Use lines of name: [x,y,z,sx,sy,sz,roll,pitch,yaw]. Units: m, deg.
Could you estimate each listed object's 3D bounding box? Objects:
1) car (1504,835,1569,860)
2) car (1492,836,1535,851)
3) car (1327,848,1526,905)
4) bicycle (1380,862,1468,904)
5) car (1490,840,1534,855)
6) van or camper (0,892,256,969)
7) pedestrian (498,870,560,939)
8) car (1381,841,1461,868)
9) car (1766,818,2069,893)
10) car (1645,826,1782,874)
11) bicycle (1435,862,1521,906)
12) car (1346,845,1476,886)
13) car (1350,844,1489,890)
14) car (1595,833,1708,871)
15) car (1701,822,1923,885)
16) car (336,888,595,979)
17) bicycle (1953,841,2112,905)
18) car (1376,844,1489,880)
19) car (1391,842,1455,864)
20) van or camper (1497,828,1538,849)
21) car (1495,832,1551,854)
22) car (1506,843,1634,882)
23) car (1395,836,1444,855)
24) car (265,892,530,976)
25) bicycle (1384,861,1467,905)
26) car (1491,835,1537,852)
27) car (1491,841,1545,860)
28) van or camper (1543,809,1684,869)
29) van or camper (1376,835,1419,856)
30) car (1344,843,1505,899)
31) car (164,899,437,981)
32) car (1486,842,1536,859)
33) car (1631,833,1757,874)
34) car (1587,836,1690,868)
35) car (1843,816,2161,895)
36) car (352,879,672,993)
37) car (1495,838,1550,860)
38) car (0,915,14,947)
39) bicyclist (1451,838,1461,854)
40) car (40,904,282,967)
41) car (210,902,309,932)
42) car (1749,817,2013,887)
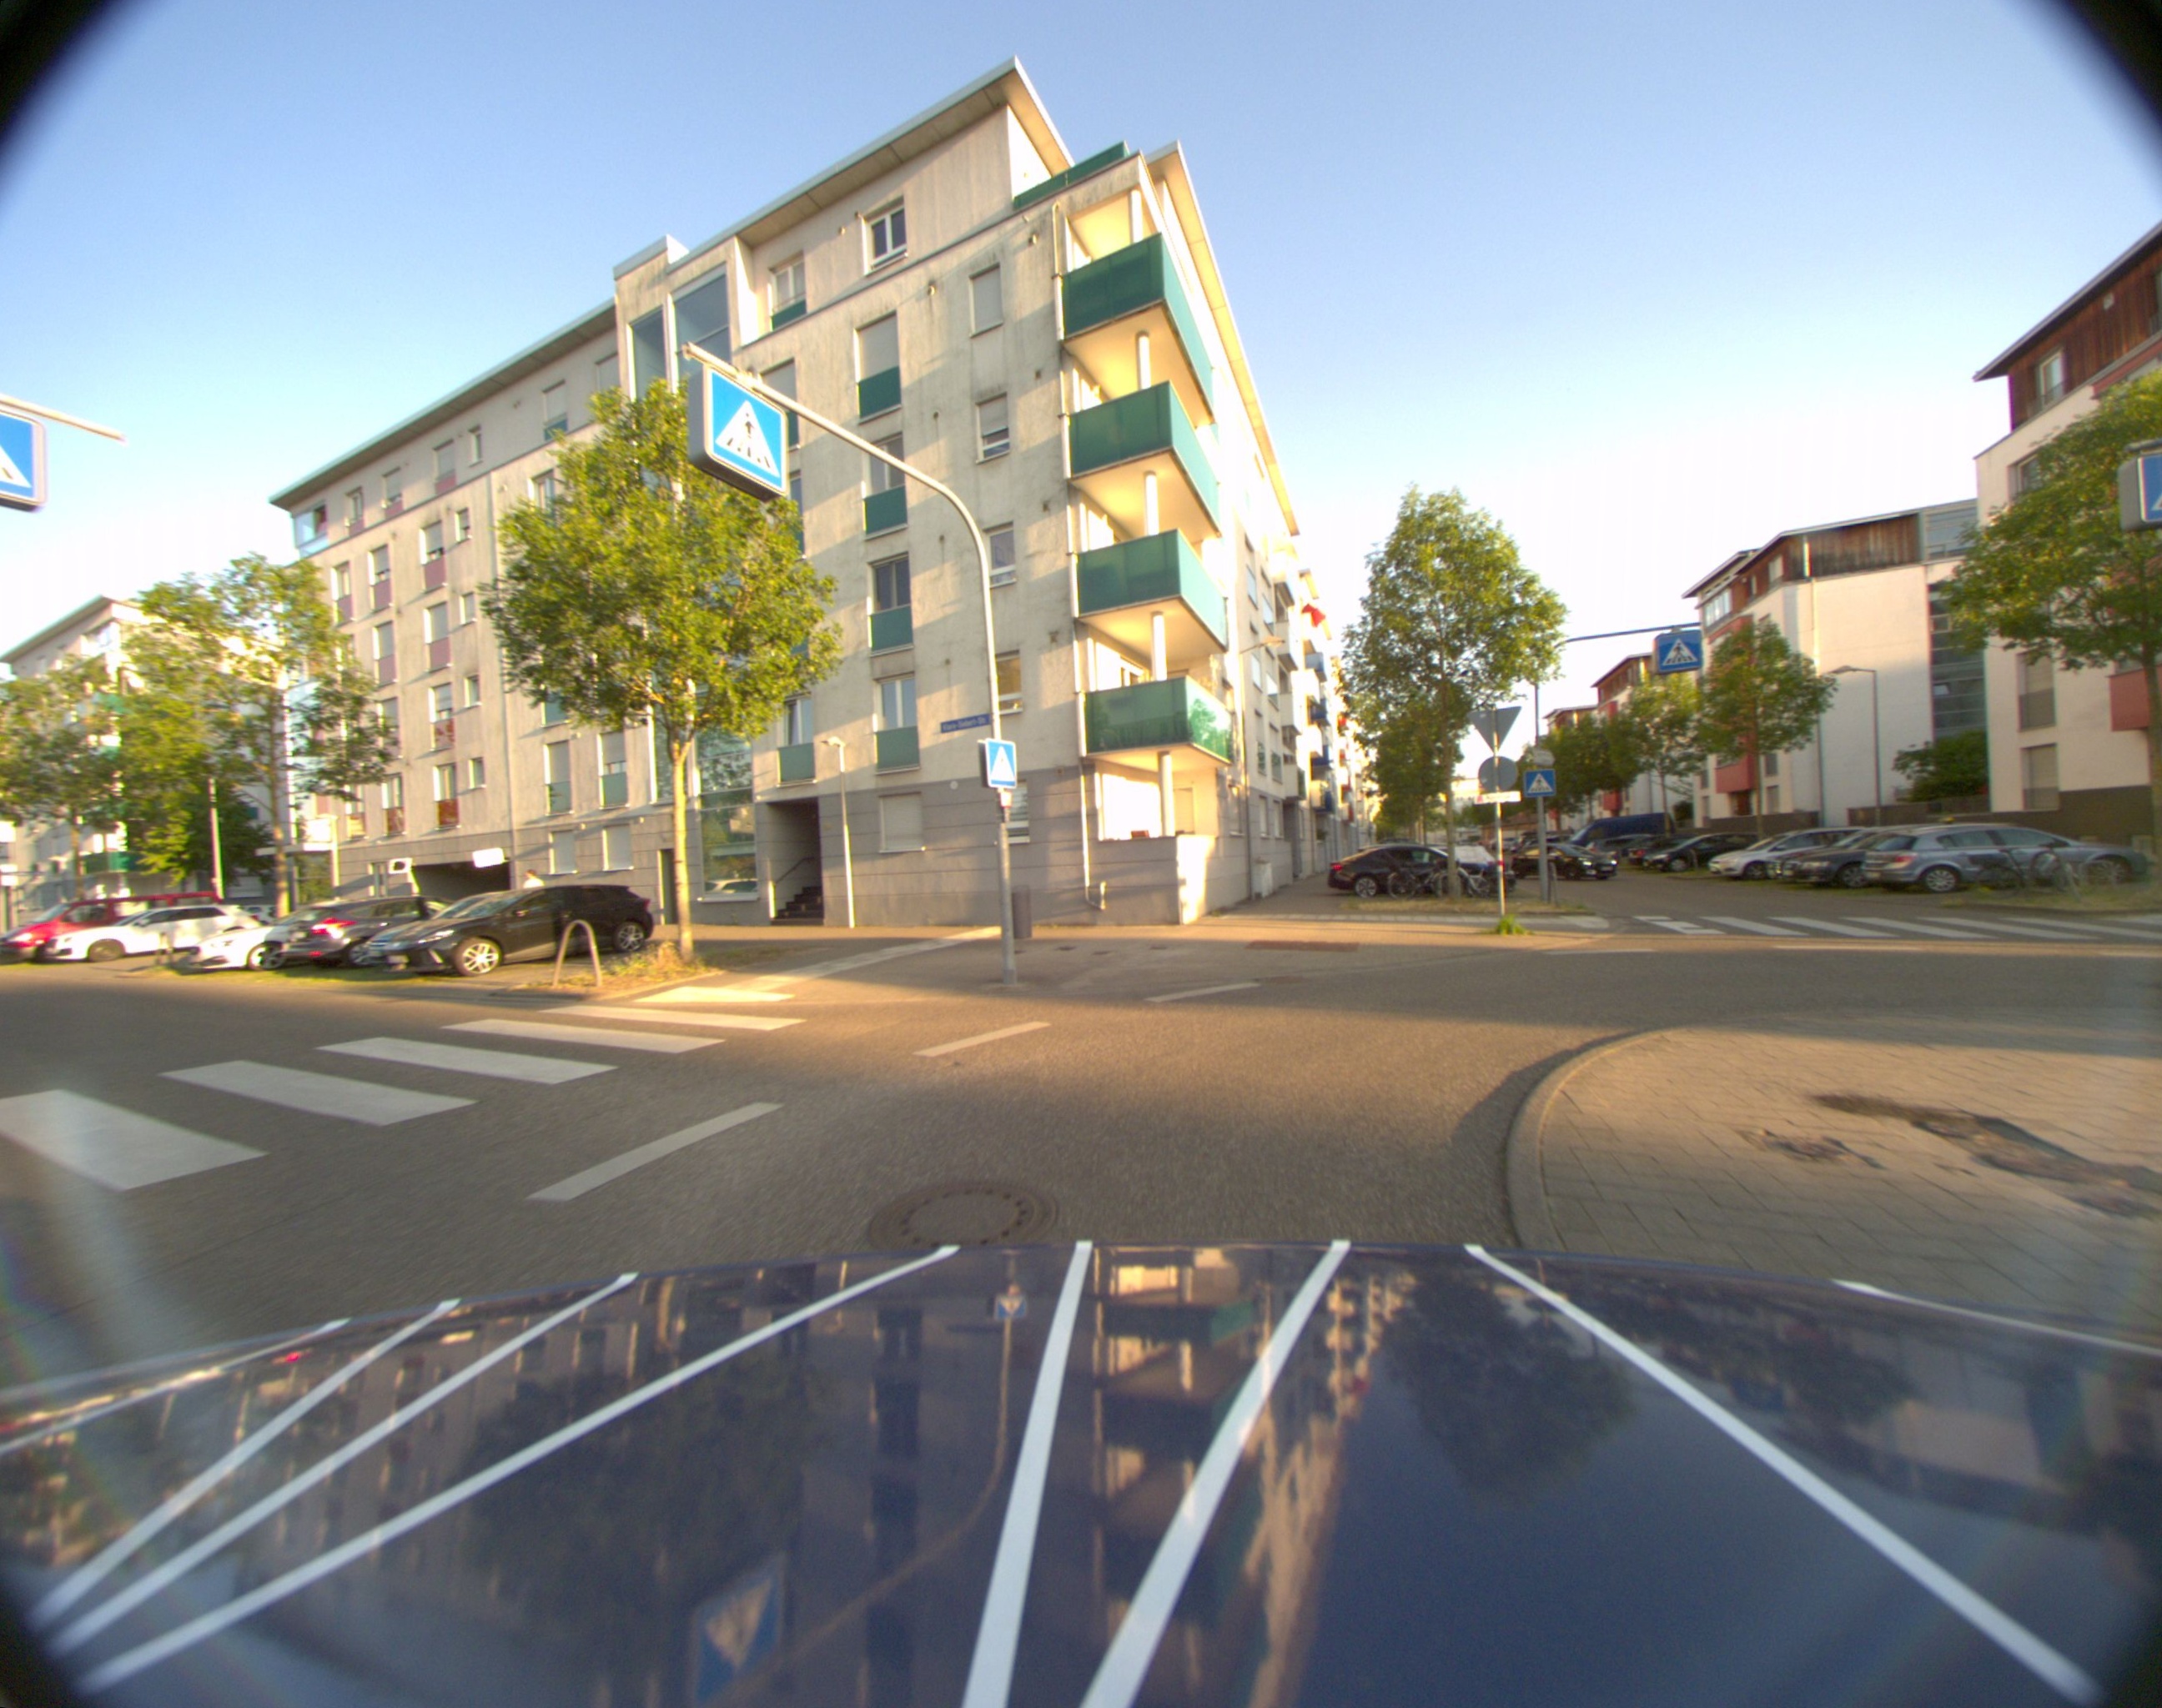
car: [36.054,-0.486,60.247,4.244,1.919,1.695,0,0,22]
car: [50.528,-1.199,88.816,4.243,1.776,1.695,0,0,24]
car: [9.600,0.572,21.375,4.878,1.449,1.941,0,0,25]
bicycle: [8.799,0.726,19.555,2.031,1.040,0.474,0,0,19]
car: [48.946,-0.718,86.393,4.243,1.629,1.695,0,0,24]
van or camper: [-31.129,2.393,24.908,1.873,2.047,5.141,-3,-1,24]
pedestrian: [-15.596,1.415,21.469,1.047,1.882,0.981,-3,-1,26]
car: [19.631,0.044,44.065,4.095,1.500,1.668,0,0,19]
car: [21.109,0.078,19.484,4.908,1.469,1.713,-5,-2,21]
car: [25.831,-0.141,31.188,3.913,1.700,1.726,-4,-1,19]
bicycle: [9.740,0.725,18.698,1.836,1.065,0.474,0,0,19]
car: [12.448,0.407,28.718,4.284,1.449,1.746,0,0,32]
car: [11.637,0.418,26.353,4.286,1.485,1.745,0,0,22]
car: [28.507,-0.070,38.107,4.096,1.615,1.726,-4,-1,19]
car: [23.216,0.018,24.371,4.753,1.575,1.761,-5,-1,19]
car: [-13.089,1.622,16.478,1.556,1.366,4.011,-3,1,25]
bicycle: [18.493,0.379,14.816,1.819,1.060,0.568,-6,-2,20]
car: [15.074,0.327,32.849,4.287,1.499,1.688,0,0,20]
car: [25.171,-0.073,55.942,4.243,1.527,1.695,0,0,24]
van or camper: [53.327,-1.865,92.935,4.244,2.520,1.763,0,0,24]
car: [40.217,-0.974,69.243,4.244,1.919,1.695,0,0,22]
car: [19.227,0.309,30.120,1.779,1.454,4.173,0,0,-14]
car: [32.761,-0.787,73.631,4.243,1.768,1.695,0,0,24]
car: [-15.169,1.703,17.154,1.697,1.470,4.063,-3,-1,24]
bicycle: [8.379,0.697,18.554,1.789,1.036,0.568,0,0,19]
car: [47.987,-1.124,84.246,4.243,1.776,1.695,0,0,24]
car: [41.959,-0.345,73.026,4.244,1.776,1.695,0,0,22]
van or camper: [31.681,-0.850,45.480,6.305,3.068,2.446,-4,-1,19]
van or camper: [34.171,-0.868,82.143,4.244,2.198,1.695,0,0,23]
car: [10.738,0.548,23.932,4.405,1.499,1.746,-3,-1,26]
car: [-17.923,1.902,17.710,1.697,1.470,4.063,-3,-1,24]
car: [44.119,-0.352,78.033,4.244,1.776,1.695,0,0,22]
car: [26.826,0.002,33.397,3.913,1.506,1.726,-4,-1,19]
car: [29.679,-0.102,40.605,4.095,1.616,1.726,0,0,19]
car: [20.402,0.073,17.051,4.285,1.449,1.683,-3,-1,21]
car: [-10.584,1.431,14.601,1.829,1.479,4.487,-3,2,24]
car: [41.278,-0.450,71.157,4.244,1.991,1.695,0,0,22]
car: [-55.962,3.924,37.222,1.775,1.583,3.963,-3,-1,23]
bicyclist: [38.098,-0.778,77.219,0.766,1.617,0.664,-3,-1,22]
car: [-28.362,2.451,23.640,1.697,1.512,4.475,-3,-1,24]
car: [-46.290,3.532,42.878,3.526,1.459,1.613,-2,-1,-7]
car: [22.380,-0.017,21.569,4.778,1.545,1.714,-5,-2,27]
